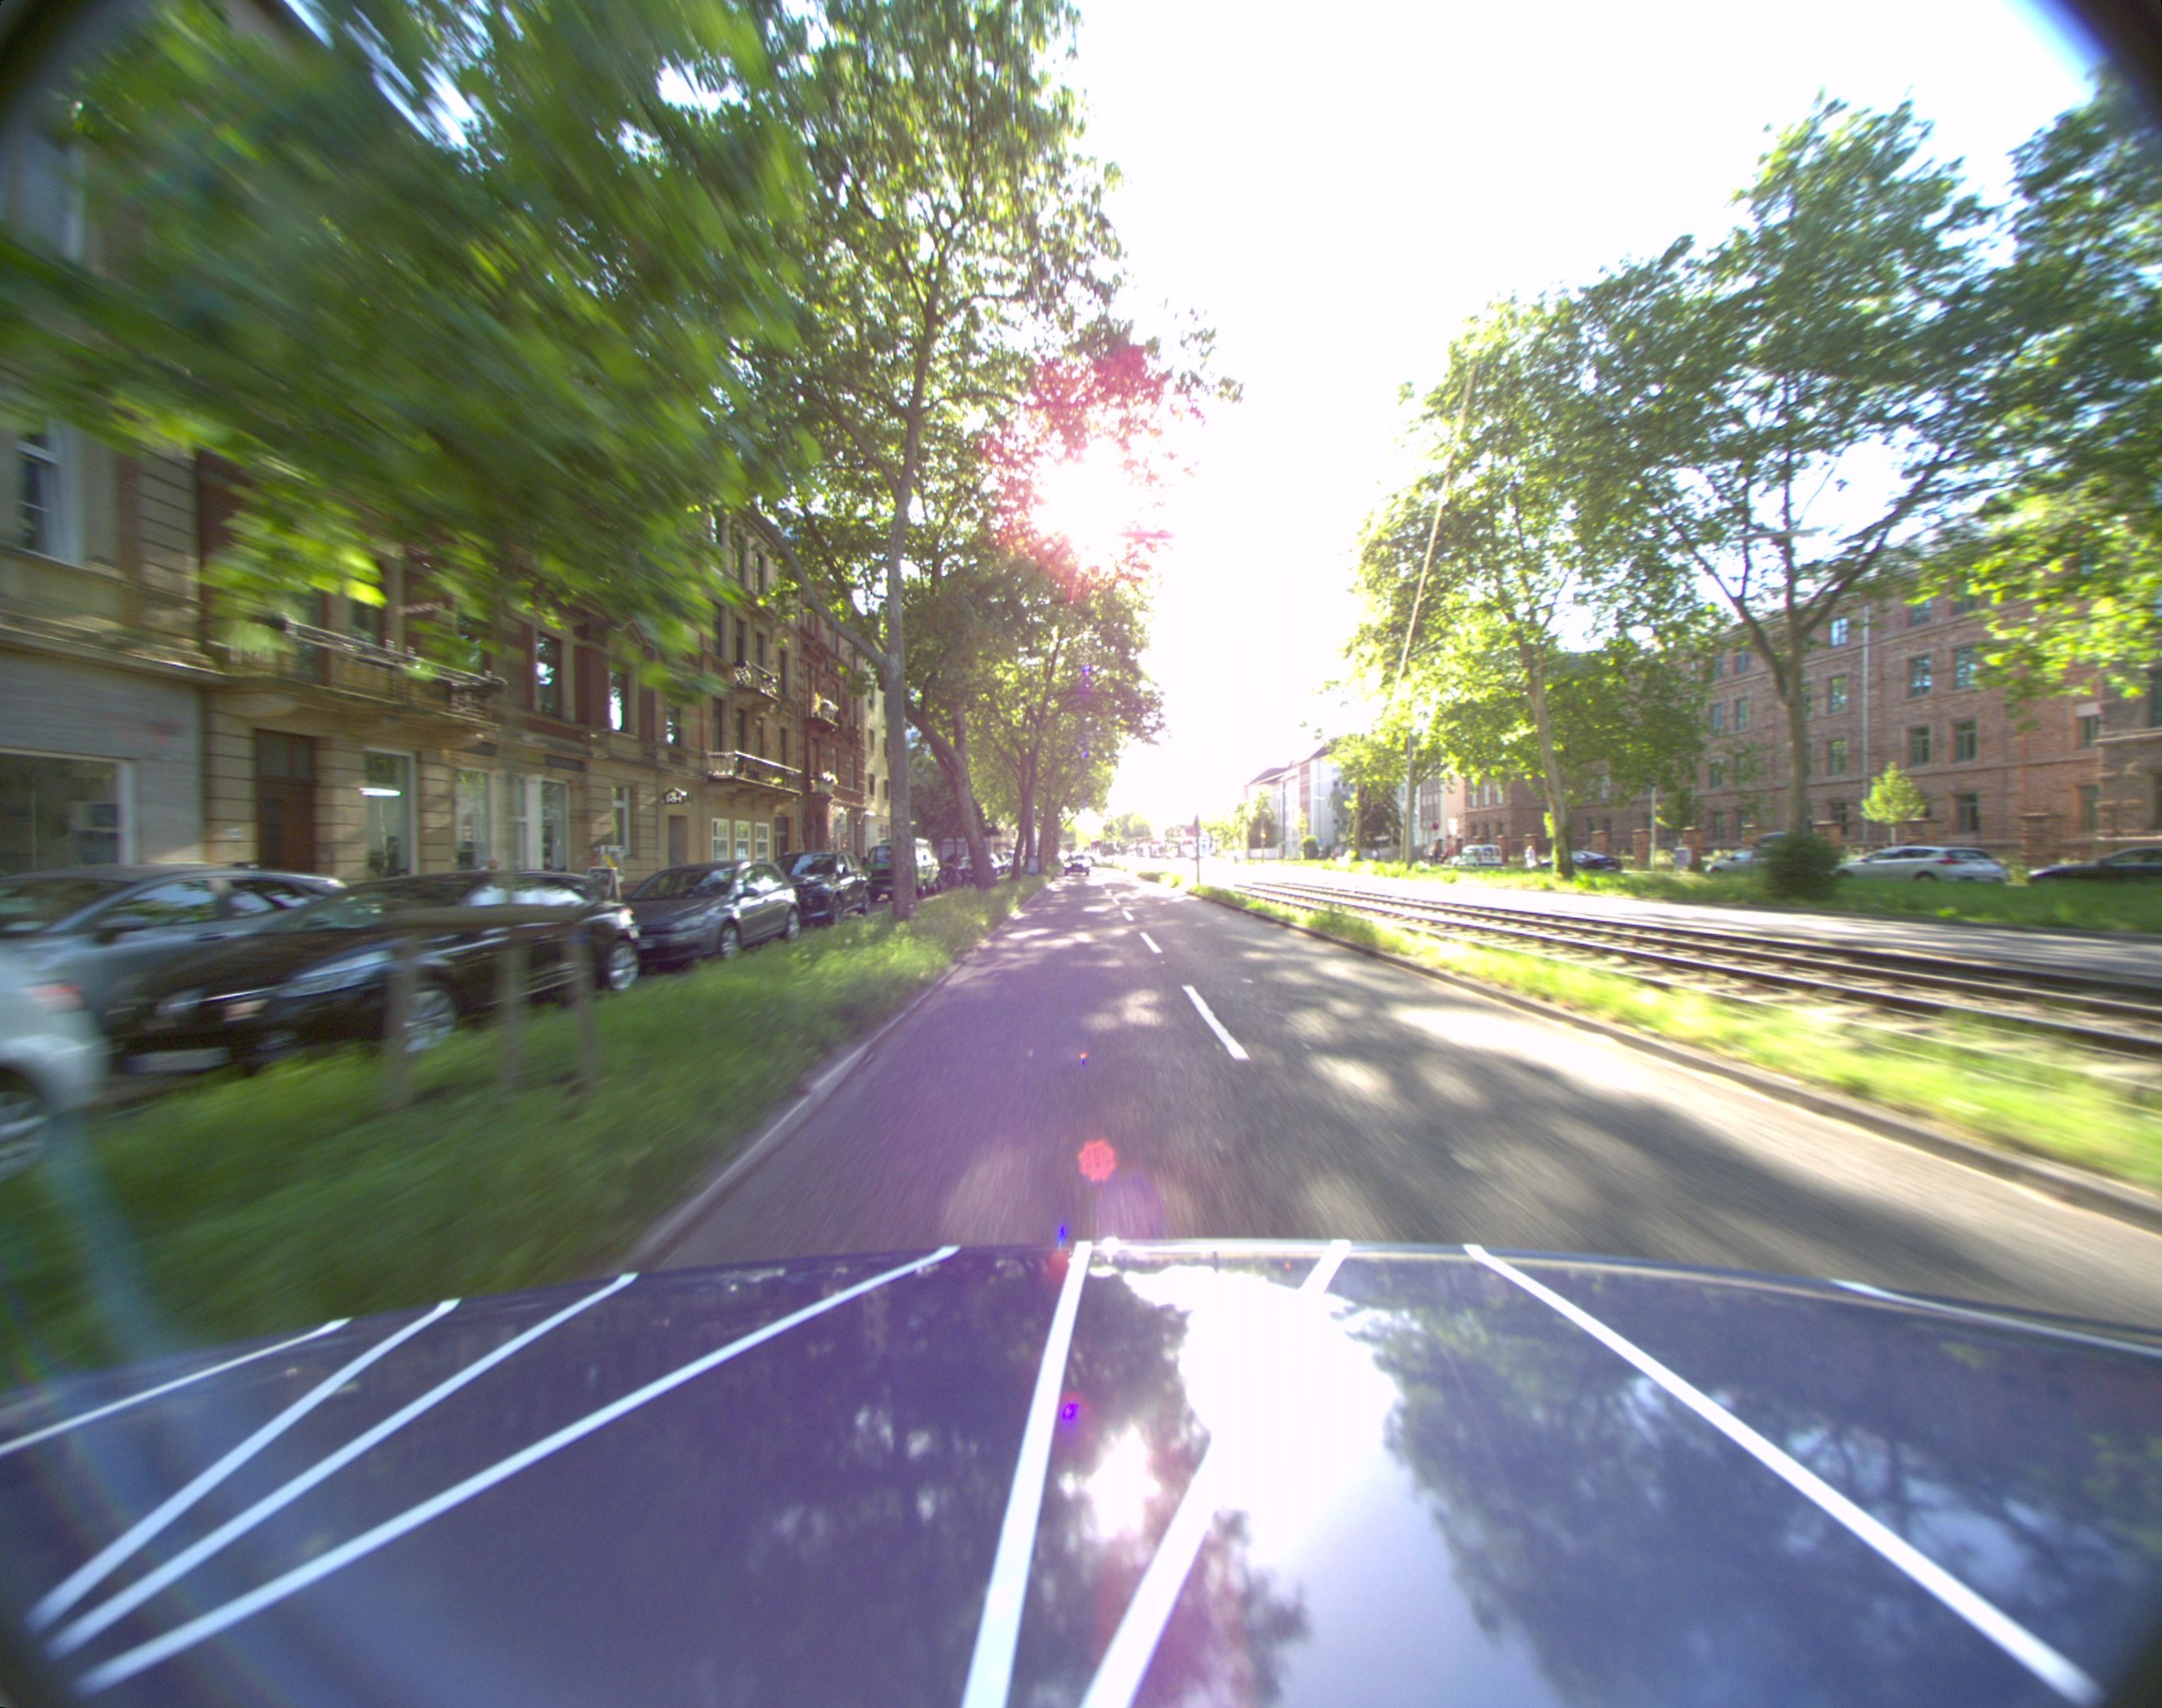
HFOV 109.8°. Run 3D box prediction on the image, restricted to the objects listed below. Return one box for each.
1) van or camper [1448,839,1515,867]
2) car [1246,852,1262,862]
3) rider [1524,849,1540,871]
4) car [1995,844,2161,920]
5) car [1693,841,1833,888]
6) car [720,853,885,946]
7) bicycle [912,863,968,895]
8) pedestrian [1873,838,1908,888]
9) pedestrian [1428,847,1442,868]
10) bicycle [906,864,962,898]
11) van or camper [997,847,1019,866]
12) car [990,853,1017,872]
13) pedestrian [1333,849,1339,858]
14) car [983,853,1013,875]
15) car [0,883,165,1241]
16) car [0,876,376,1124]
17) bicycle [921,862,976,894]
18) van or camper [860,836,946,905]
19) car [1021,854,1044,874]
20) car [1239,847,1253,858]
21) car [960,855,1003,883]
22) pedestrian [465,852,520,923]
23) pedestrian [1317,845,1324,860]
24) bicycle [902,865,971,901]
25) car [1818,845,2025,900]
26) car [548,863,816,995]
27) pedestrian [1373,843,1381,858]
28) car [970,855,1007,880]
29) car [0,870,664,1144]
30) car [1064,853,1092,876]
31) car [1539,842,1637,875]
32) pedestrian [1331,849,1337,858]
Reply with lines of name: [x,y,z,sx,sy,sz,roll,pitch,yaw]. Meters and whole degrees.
van or camper: [26.735,-0.068,50.886,1.999,1.777,4.431,0,0,-2]
car: [29.514,0.493,129.428,1.998,1.697,4.150,-1,0,3]
rider: [33.377,0.464,56.250,0.730,1.635,0.686,0,0,0]
car: [26.840,0.664,19.049,2.114,1.798,4.737,0,0,-1]
car: [26.826,0.391,30.116,1.772,1.709,4.421,0,0,4]
car: [-5.866,0.858,16.732,1.896,1.638,4.799,-3,0,-2]
bicycle: [-5.953,1.061,32.226,2.169,1.287,0.983,-2,1,0]
pedestrian: [32.441,0.360,30.444,0.716,2.002,0.626,0,1,0]
pedestrian: [32.963,0.319,70.804,0.903,1.888,0.942,0,0,1]
bicycle: [-5.954,1.078,30.939,2.171,1.287,0.982,-2,1,-10]
van or camper: [-9.402,0.311,98.404,2.297,2.273,5.822,-1,0,-1]
car: [-6.048,0.665,59.742,1.719,1.443,4.261,0,-1,0]
pedestrian: [30.620,-0.100,91.166,0.445,1.093,0.587,0,0,-5]
car: [-5.902,0.731,54.421,1.699,1.521,4.261,0,-1,0]
car: [-5.691,0.990,1.858,1.758,1.563,4.184,-3,0,-1]
car: [-8.352,1.036,6.146,1.759,1.569,4.181,0,0,-7]
bicycle: [-5.800,1.049,33.376,2.169,1.287,0.983,-2,1,2]
van or camper: [-6.018,0.514,26.247,1.838,2.085,4.773,-3,0,-2]
car: [-4.195,0.855,65.822,1.908,1.626,4.822,-1,0,-3]
car: [26.675,-0.242,122.841,1.769,1.613,4.477,-1,0,6]
car: [-5.714,0.846,44.004,1.838,1.399,4.192,-3,0,0]
pedestrian: [-13.086,0.737,16.917,0.649,1.537,0.693,-1,1,-1]
pedestrian: [32.736,-0.182,103.769,0.664,2.002,0.860,-1,0,-1]
bicycle: [-5.599,1.098,29.565,2.557,1.287,0.974,-2,1,-7]
car: [26.917,0.555,24.624,1.998,1.606,4.421,0,0,4]
car: [-5.676,0.955,11.546,1.741,1.455,4.364,-3,0,-1]
pedestrian: [35.069,-0.398,89.949,0.694,1.826,0.573,-1,1,-1]
car: [-5.844,0.871,48.494,1.699,1.498,4.582,0,-1,1]
car: [-5.786,0.994,6.800,1.758,1.488,4.184,-3,0,-1]
car: [-0.192,0.771,58.992,1.979,1.660,4.620,-2,0,1]
car: [26.722,0.267,40.308,1.998,1.640,4.827,0,0,0]
pedestrian: [30.581,-0.088,91.857,0.587,1.093,0.478,0,0,-2]
